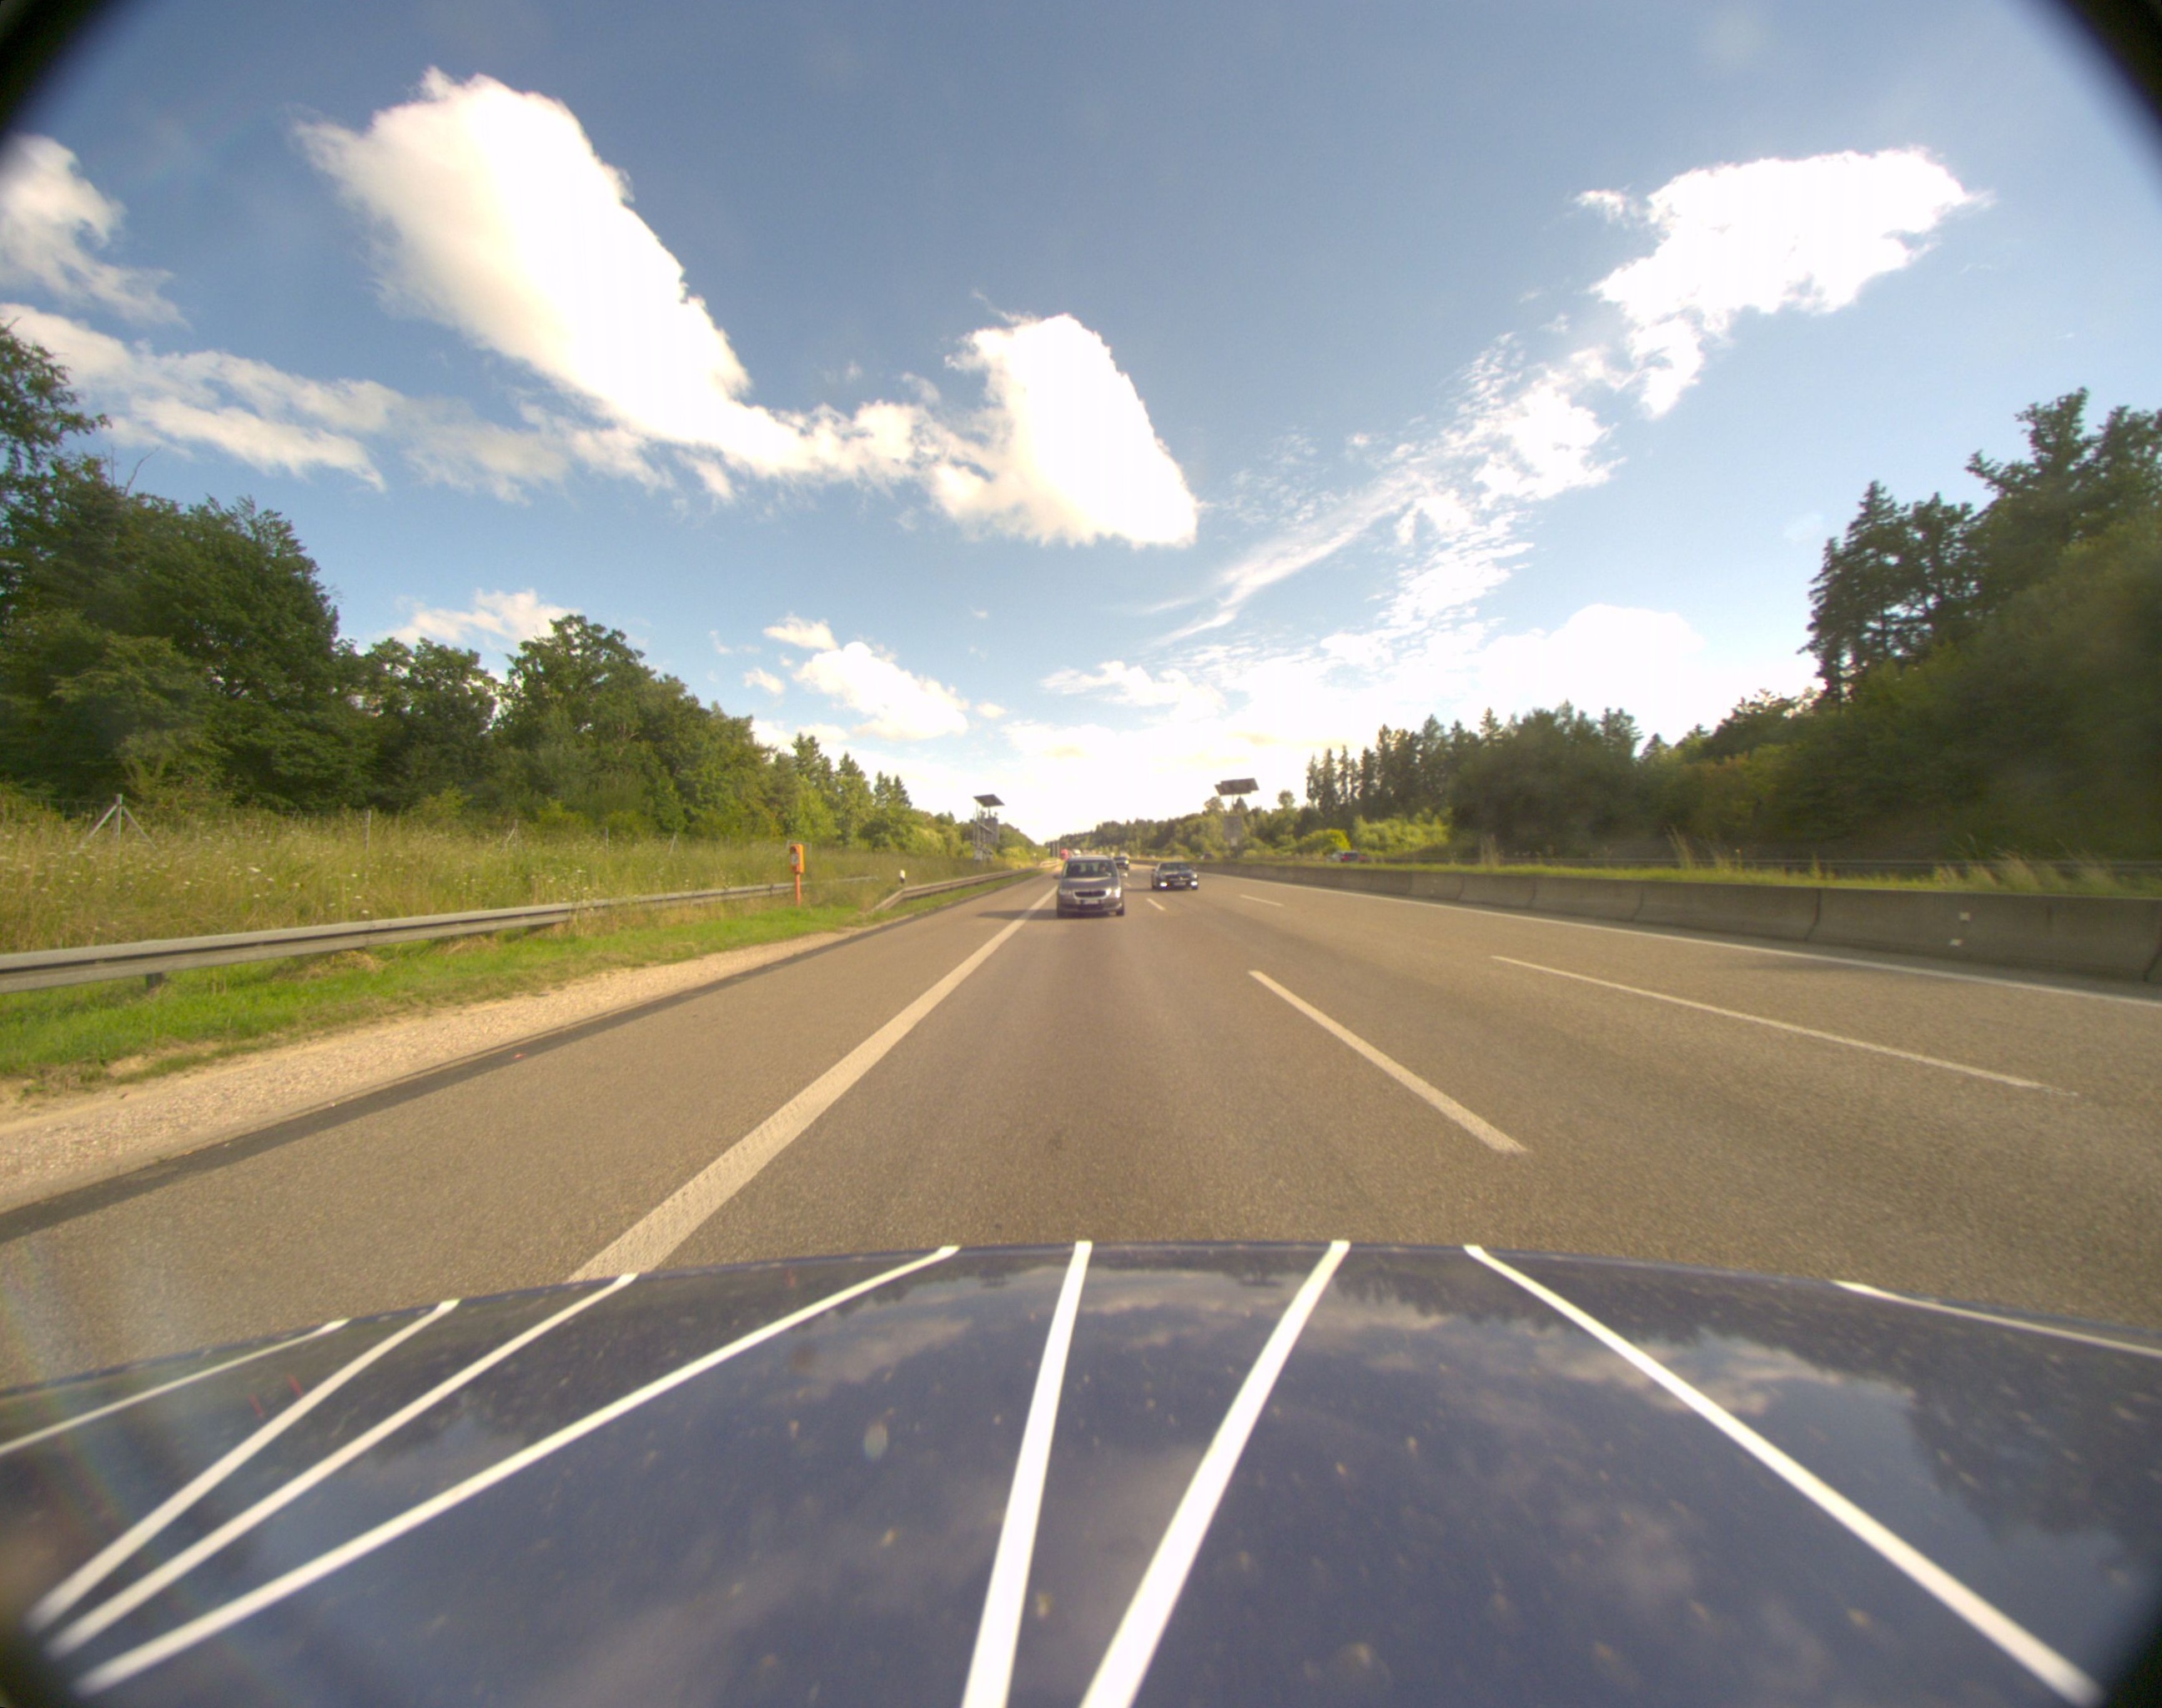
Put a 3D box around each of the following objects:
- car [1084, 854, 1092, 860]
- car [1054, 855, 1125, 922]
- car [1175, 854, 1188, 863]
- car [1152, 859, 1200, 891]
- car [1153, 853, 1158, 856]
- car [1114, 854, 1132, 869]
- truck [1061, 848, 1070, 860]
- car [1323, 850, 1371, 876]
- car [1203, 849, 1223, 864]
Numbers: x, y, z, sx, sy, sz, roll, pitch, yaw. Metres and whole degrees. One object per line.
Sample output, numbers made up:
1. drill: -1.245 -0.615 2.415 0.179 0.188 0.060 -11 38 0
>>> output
1. car: 2.045 0.797 221.028 1.938 1.772 4.236 -2 0 1
2. car: 0.270 0.874 21.169 1.742 1.608 4.083 -2 0 1
3. car: 21.027 0.945 159.291 1.931 1.894 4.429 -2 0 0
4. car: 4.276 0.931 34.870 1.749 1.276 4.199 -2 0 1
5. car: 24.398 0.090 249.272 1.595 1.087 3.173 -2 0 1
6. car: 4.846 0.869 88.157 1.961 1.608 4.388 -2 0 1
7. truck: -5.248 0.002 257.766 2.880 3.871 8.958 -2 0 1
8. car: 19.750 0.644 56.629 1.998 1.870 4.437 -2 0 0
9. car: 17.736 0.308 102.095 1.998 2.002 4.071 -2 0 0
